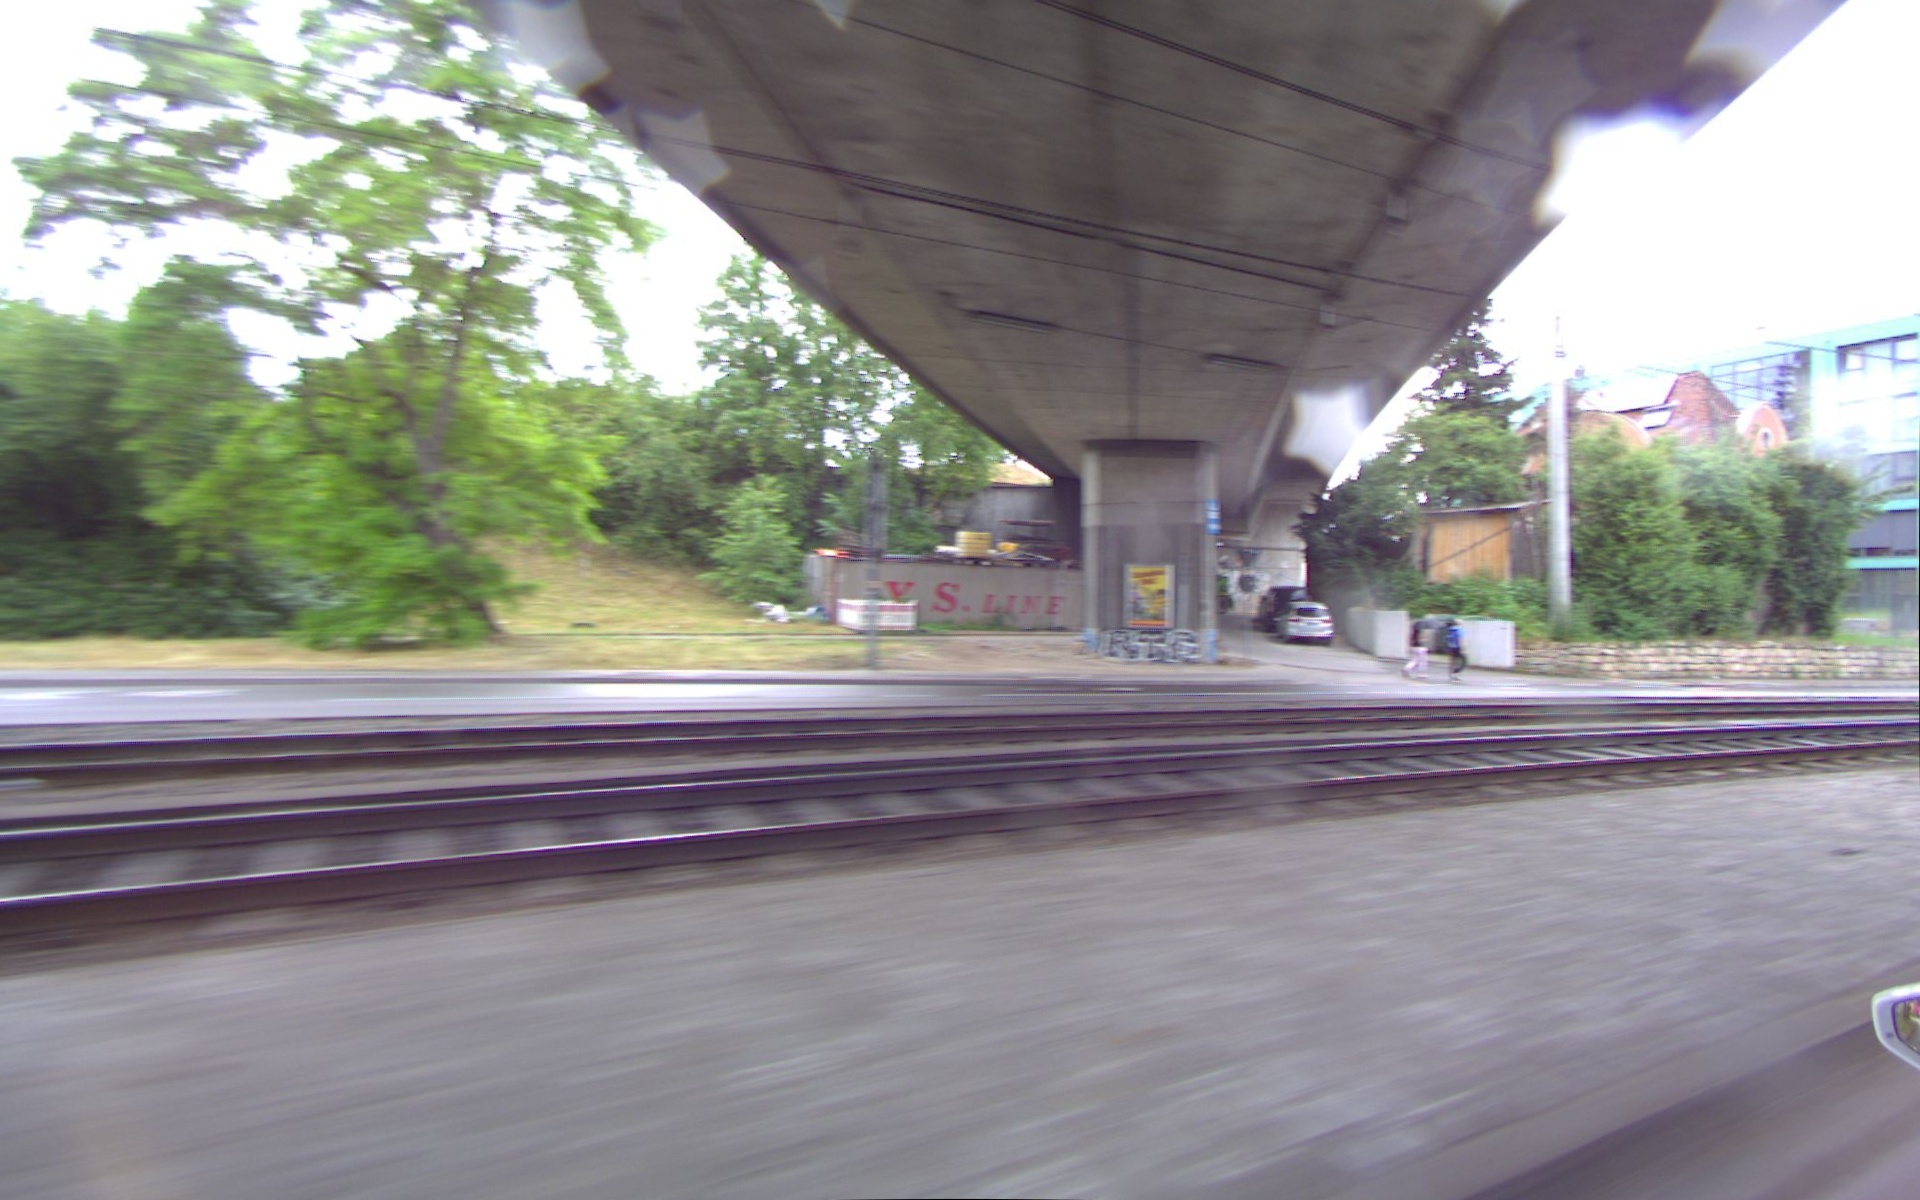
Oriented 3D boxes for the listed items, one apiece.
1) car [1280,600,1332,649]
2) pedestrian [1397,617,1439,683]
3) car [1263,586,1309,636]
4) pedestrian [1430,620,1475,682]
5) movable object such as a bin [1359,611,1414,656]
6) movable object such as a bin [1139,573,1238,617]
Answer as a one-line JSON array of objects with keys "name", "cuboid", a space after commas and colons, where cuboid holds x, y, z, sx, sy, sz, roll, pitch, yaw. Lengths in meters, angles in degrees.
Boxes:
[{"name": "car", "cuboid": [13.887, 0.954, 40.466, 1.685, 1.690, 3.198, 3, 3, 15]}, {"name": "pedestrian", "cuboid": [13.290, 1.441, 29.151, 0.854, 1.855, 0.692, 1, 1, -23]}, {"name": "car", "cuboid": [14.736, 0.454, 45.497, 1.761, 2.067, 3.198, 3, 3, 15]}, {"name": "pedestrian", "cuboid": [13.858, 1.414, 28.274, 0.874, 1.692, 0.692, 1, 1, -20]}, {"name": "movable object such as a bin", "cuboid": [15.729, 1.213, 37.117, 1.530, 1.499, 1.803, 2, 2, 12]}, {"name": "movable object such as a bin", "cuboid": [13.816, -0.289, 60.745, 5.388, 2.486, 2.619, 1, 1, -25]}]
